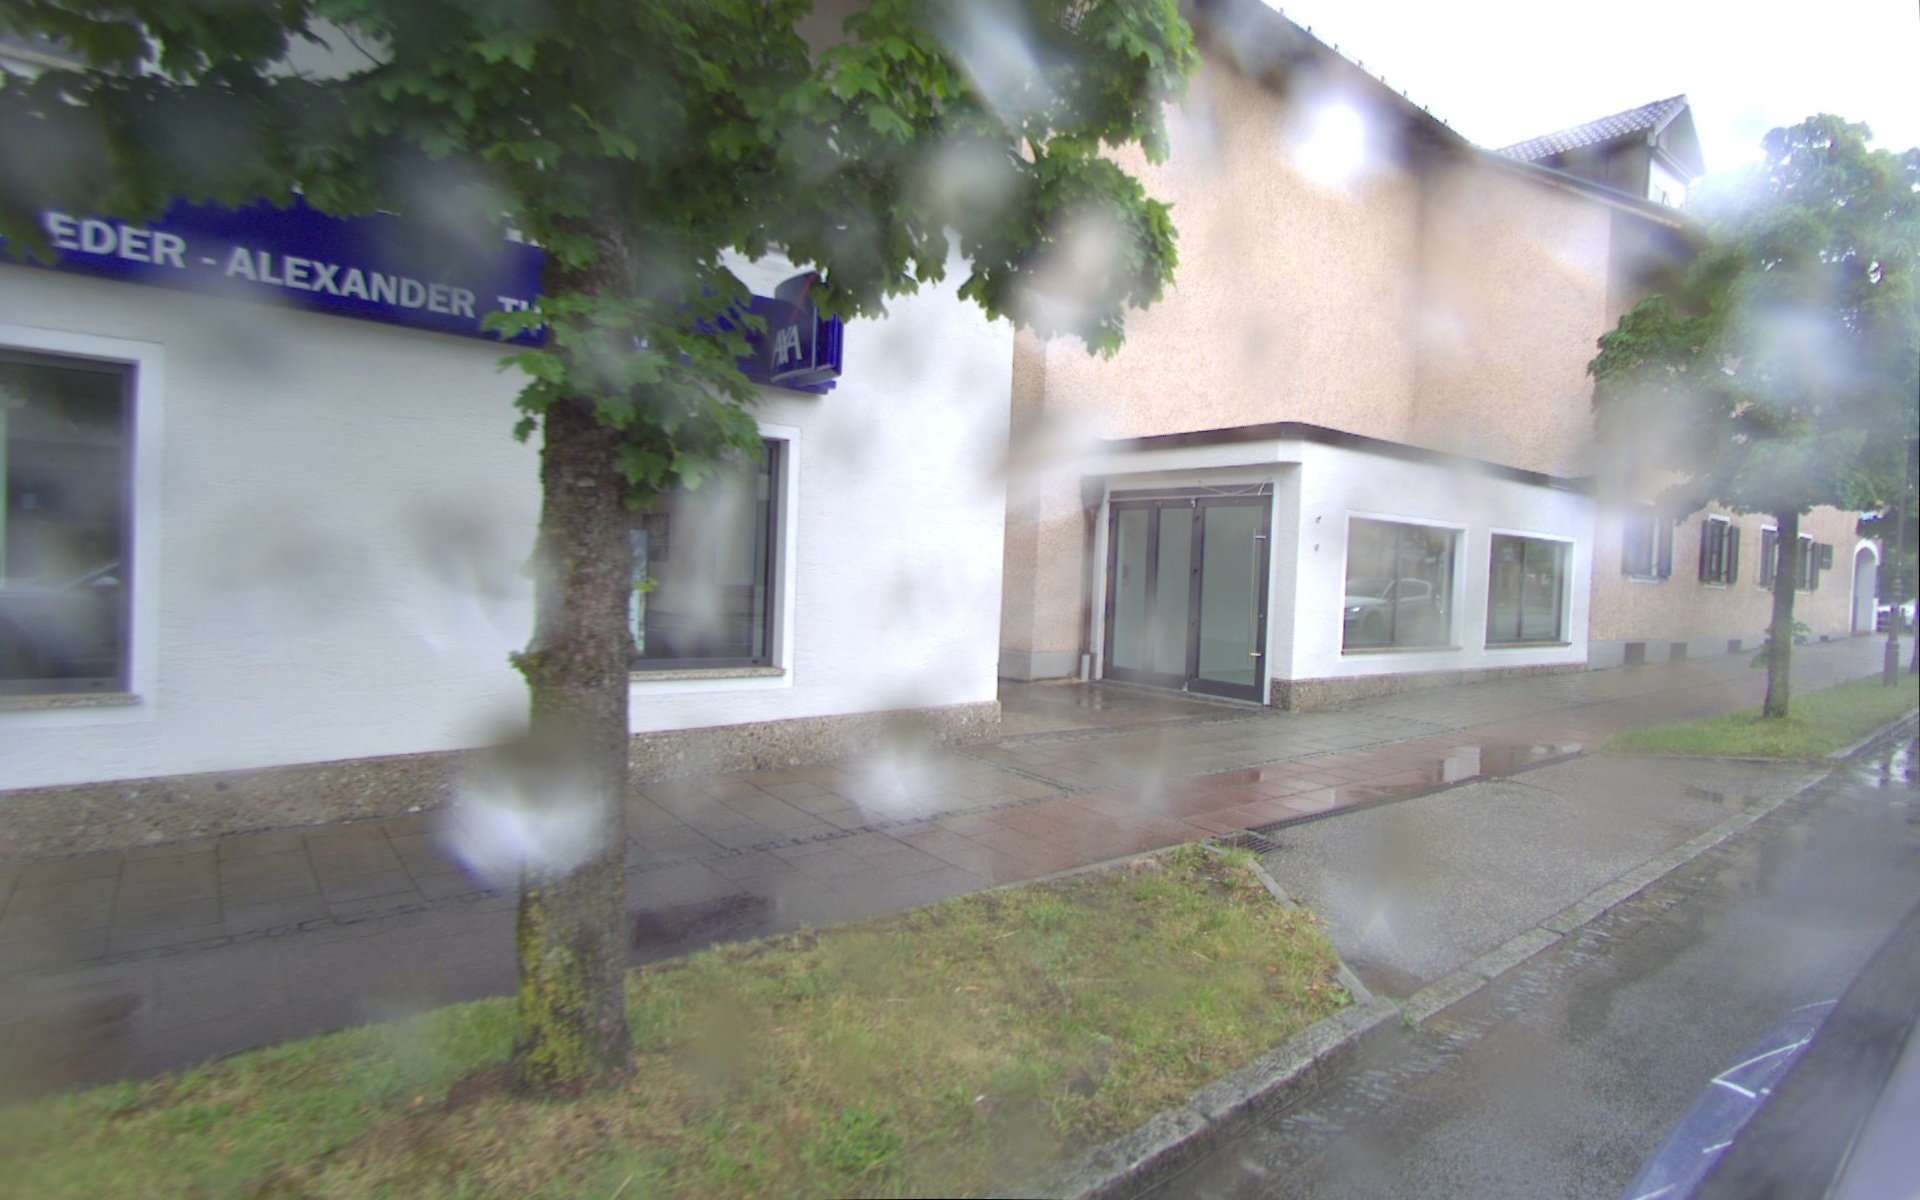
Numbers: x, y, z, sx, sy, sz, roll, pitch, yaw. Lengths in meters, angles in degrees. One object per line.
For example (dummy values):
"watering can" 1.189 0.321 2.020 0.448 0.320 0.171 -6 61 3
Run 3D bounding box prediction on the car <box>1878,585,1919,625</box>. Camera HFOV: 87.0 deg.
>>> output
"car" 40.145 0.285 40.726 4.581 1.536 1.841 3 3 1
